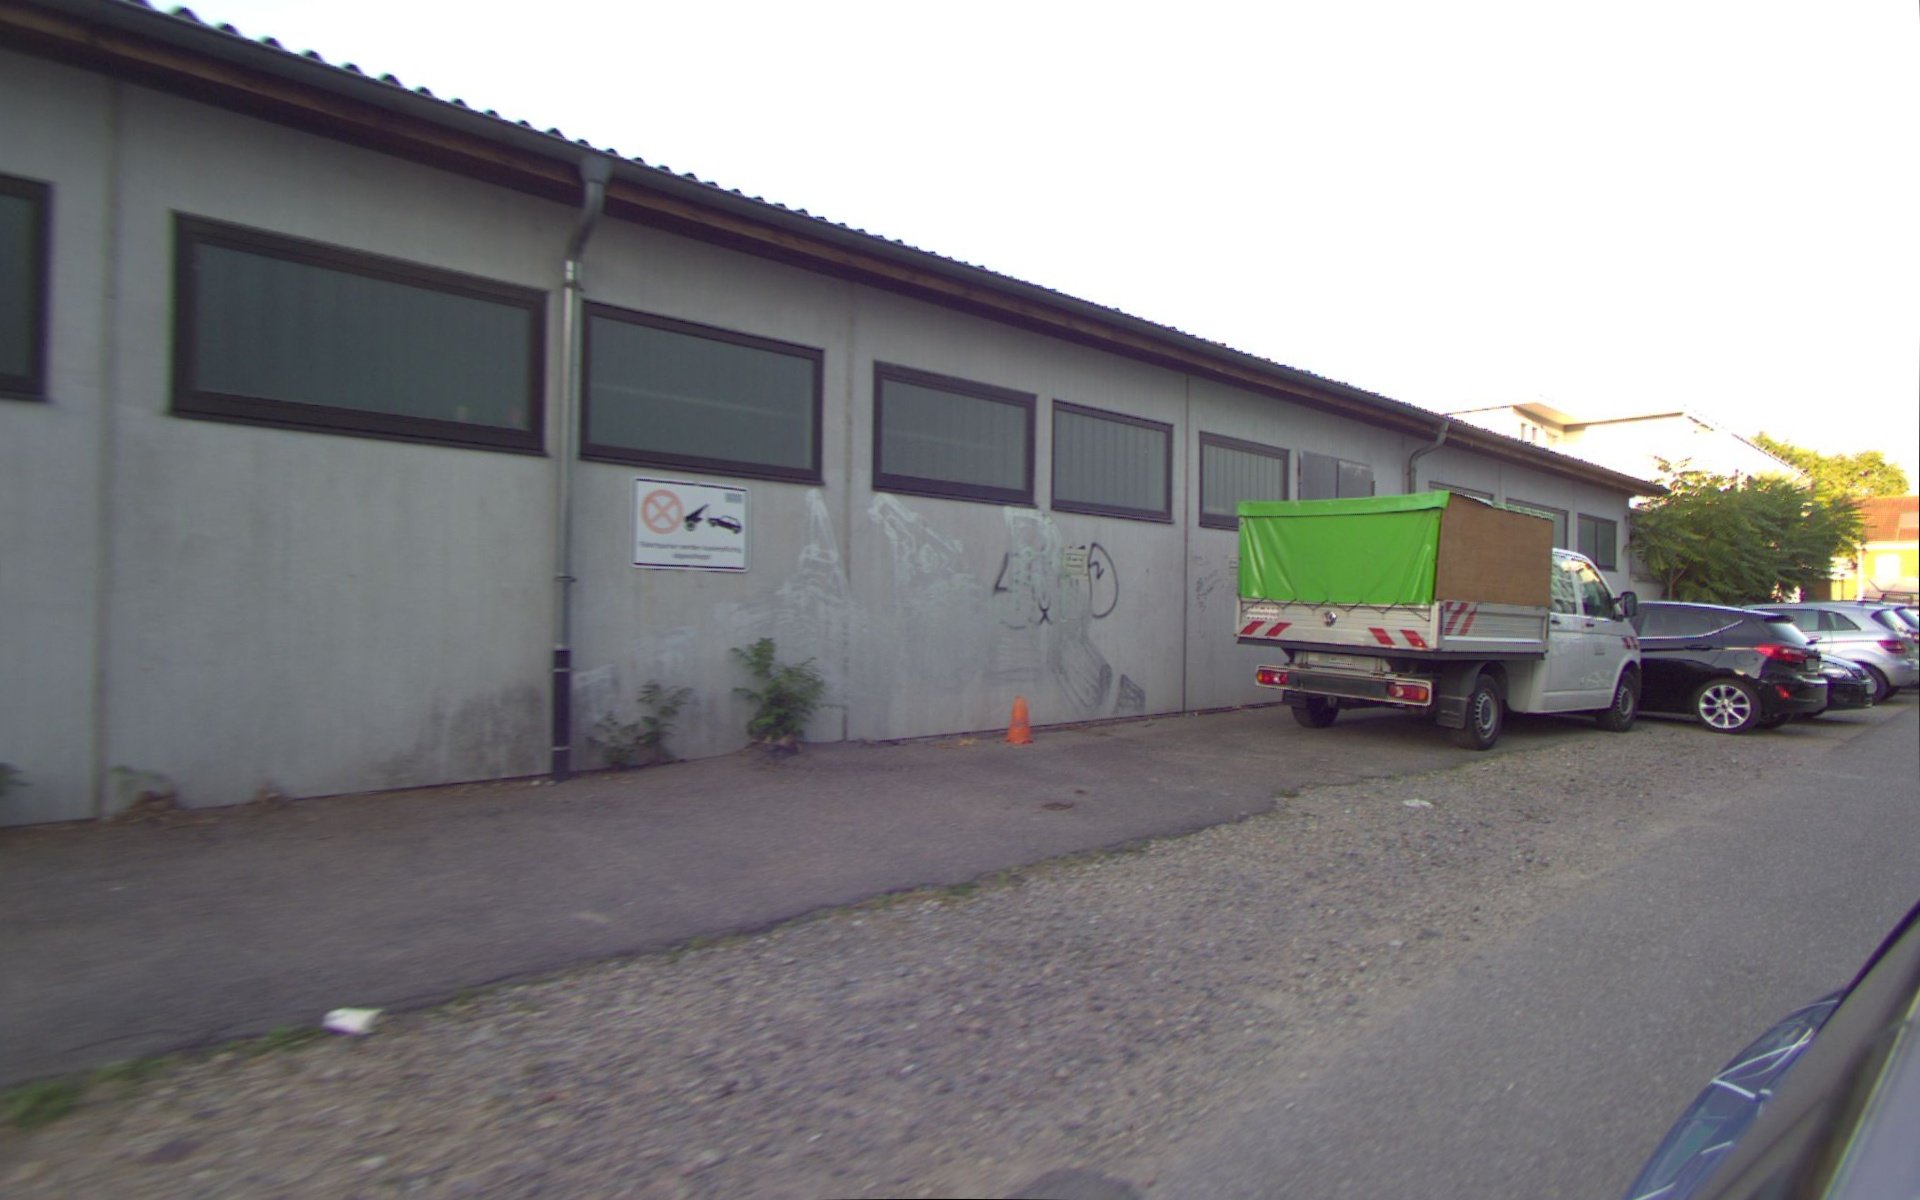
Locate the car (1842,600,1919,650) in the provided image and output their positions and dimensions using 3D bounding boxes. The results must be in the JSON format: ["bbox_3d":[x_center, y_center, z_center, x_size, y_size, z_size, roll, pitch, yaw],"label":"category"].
[{"bbox_3d":[30.602,0.813,32.098,1.681,1.497,3.714,1,1,-39],"label":"car"}]

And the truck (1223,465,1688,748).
[{"bbox_3d":[5.365,0.122,10.522,5.606,2.228,2.103,2,-1,-38],"label":"truck"}]

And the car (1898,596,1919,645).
[{"bbox_3d":[36.791,0.810,36.291,1.929,1.763,4.257,1,1,-33],"label":"car"}]

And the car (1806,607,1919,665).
[{"bbox_3d":[23.818,0.880,24.951,1.788,1.385,4.216,1,-1,-34],"label":"car"}]

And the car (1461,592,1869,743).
[{"bbox_3d":[8.599,0.714,12.632,1.856,1.555,3.770,-1,0,-36],"label":"car"}]

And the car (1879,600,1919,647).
[{"bbox_3d":[34.203,0.871,34.548,1.682,1.583,4.011,1,1,-41],"label":"car"}]

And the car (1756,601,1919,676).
[{"bbox_3d":[20.138,0.797,21.914,1.854,1.522,4.215,0,-1,-36],"label":"car"}]

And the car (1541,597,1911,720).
[{"bbox_3d":[10.496,0.721,14.084,1.812,1.463,3.767,0,-1,-38],"label":"car"}]

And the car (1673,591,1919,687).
[{"bbox_3d":[16.033,0.698,19.008,1.795,1.640,3.990,1,-1,-41],"label":"car"}]

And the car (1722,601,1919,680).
[{"bbox_3d":[18.064,0.774,20.377,1.793,1.464,3.994,0,-1,-37],"label":"car"}]

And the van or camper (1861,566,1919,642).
[{"bbox_3d":[38.575,0.186,38.720,2.442,2.900,5.795,1,1,-39],"label":"van or camper"}]

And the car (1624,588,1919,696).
[{"bbox_3d":[13.999,0.669,17.326,1.903,1.630,3.992,1,-1,-38],"label":"car"}]
